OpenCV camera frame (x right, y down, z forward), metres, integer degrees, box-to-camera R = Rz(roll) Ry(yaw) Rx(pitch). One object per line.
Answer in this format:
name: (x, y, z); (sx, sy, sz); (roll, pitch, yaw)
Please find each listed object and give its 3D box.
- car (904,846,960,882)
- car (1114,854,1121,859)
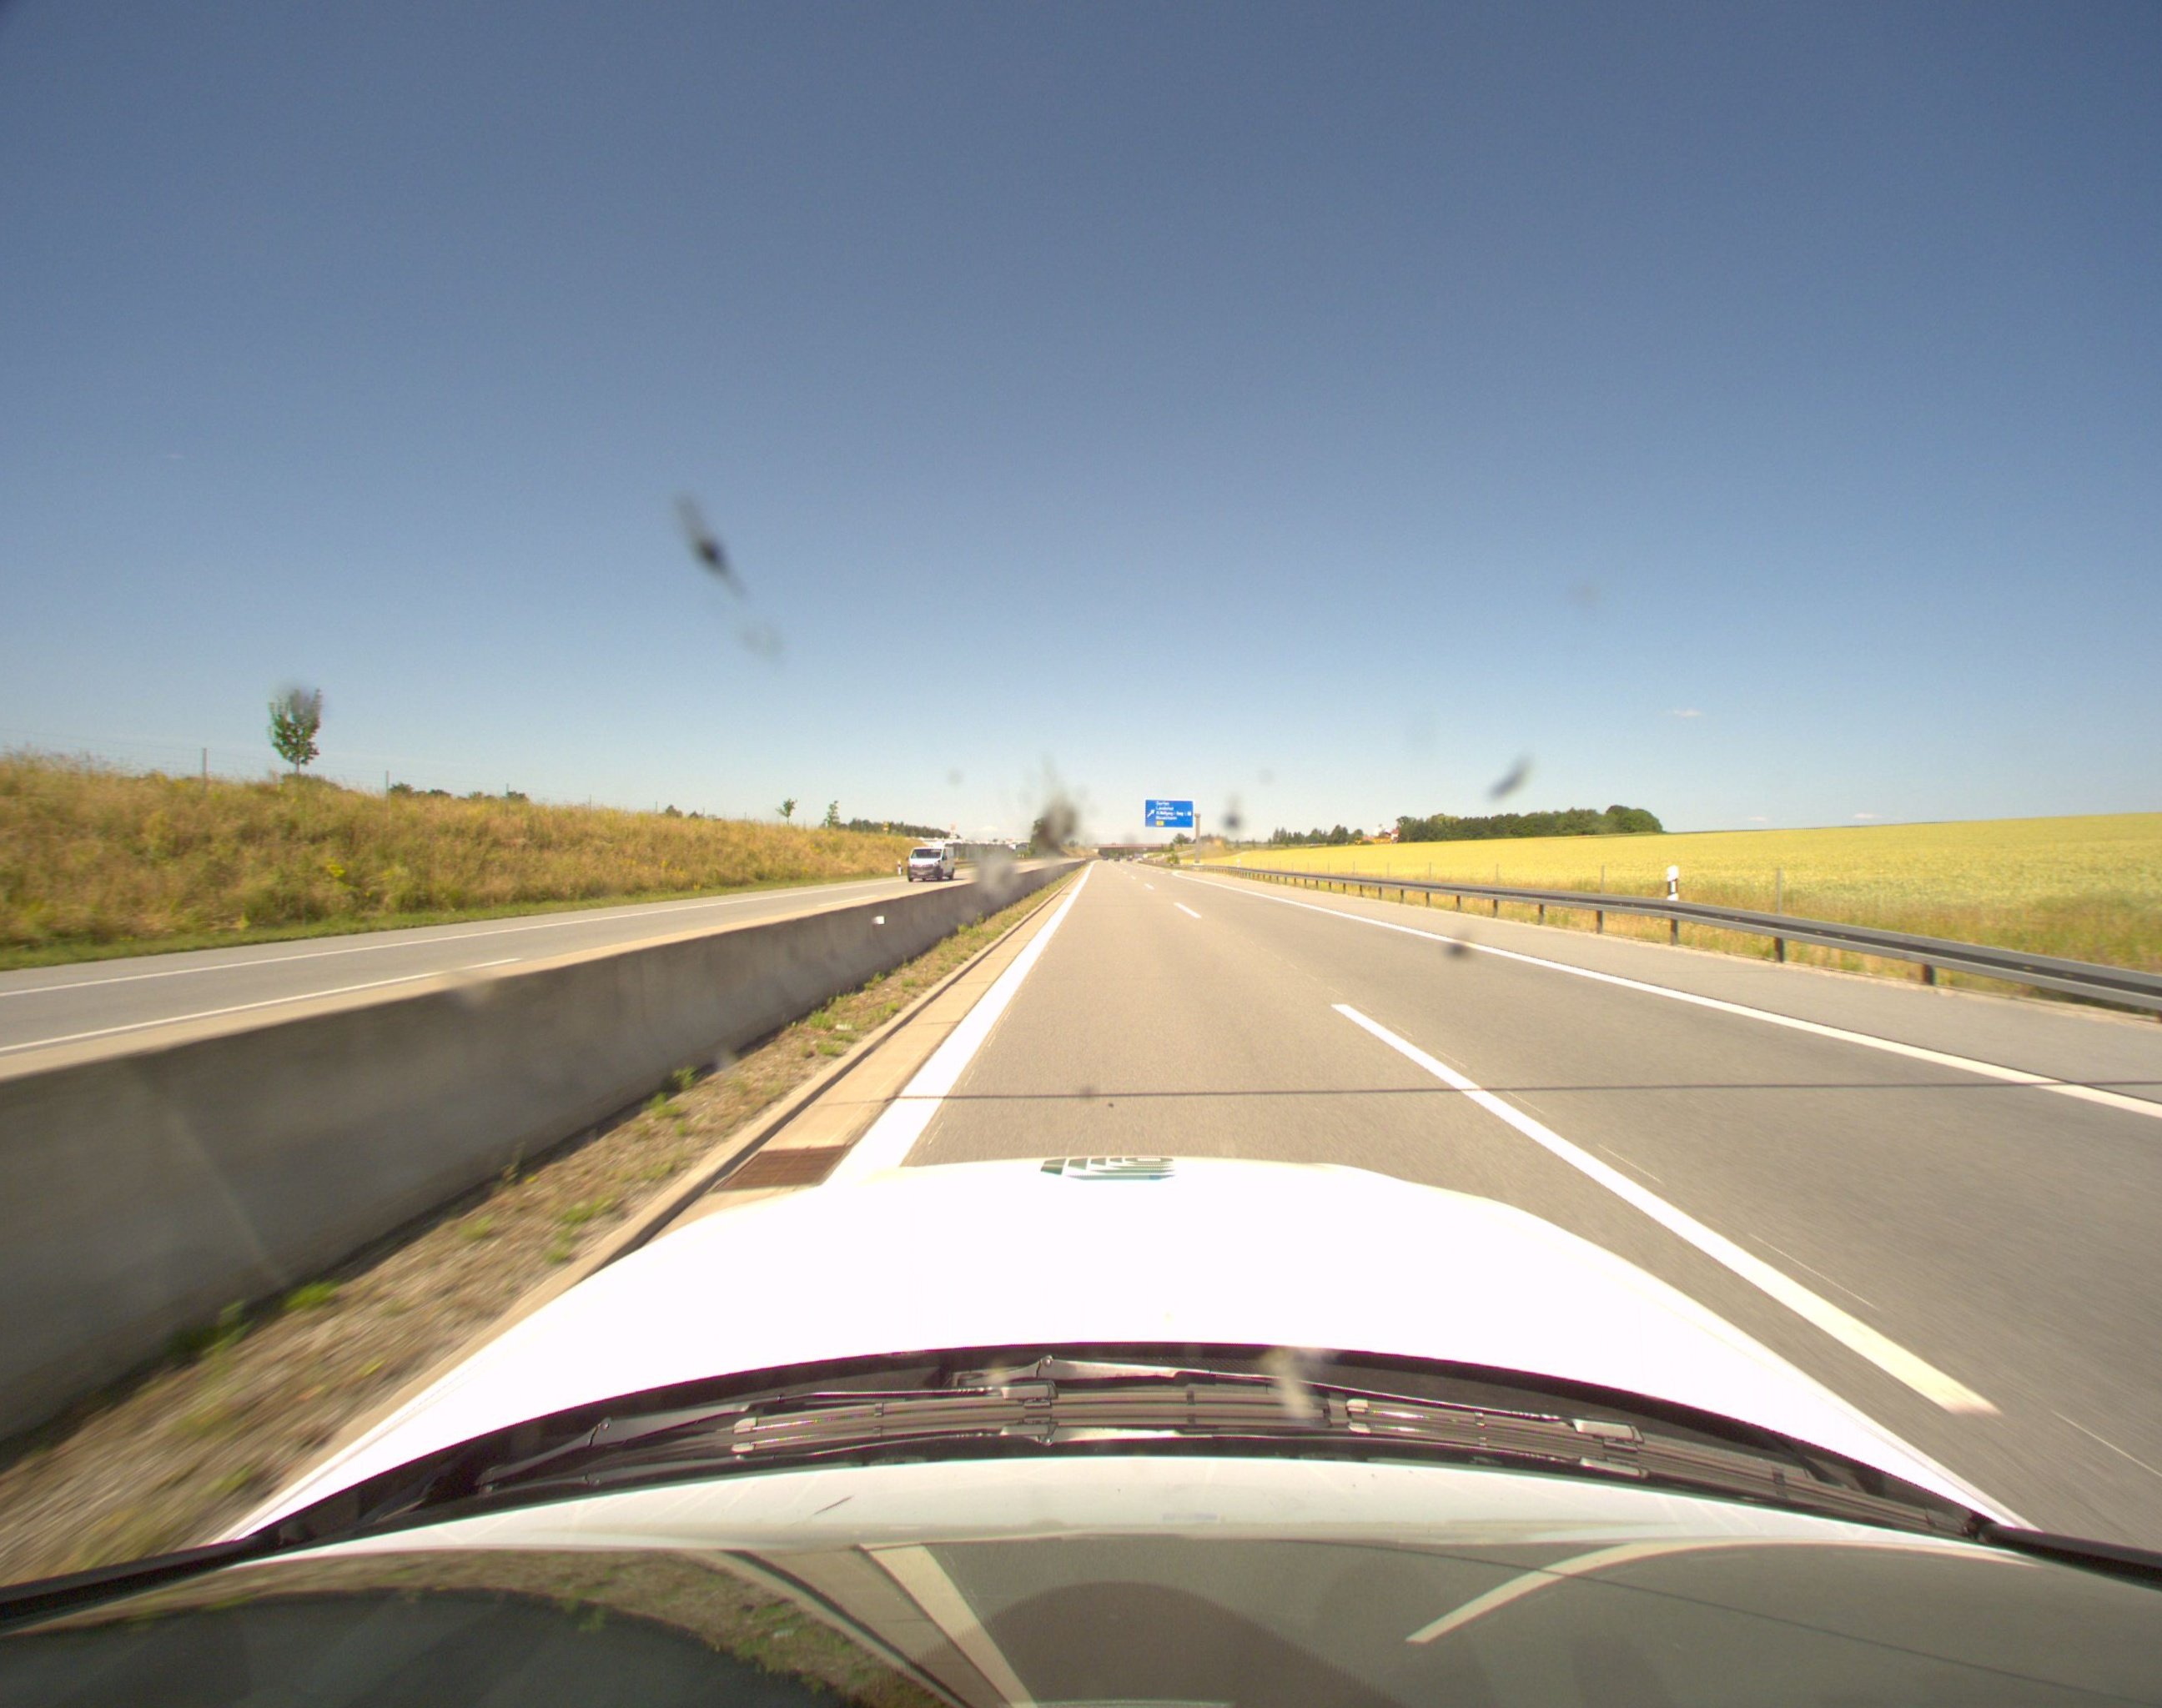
car: (-8.503, 0.537, 47.052); (2.227, 1.934, 5.793); (0, 0, -1)
car: (11.725, 0.778, 262.069); (1.984, 1.420, 4.005); (0, 0, 5)
